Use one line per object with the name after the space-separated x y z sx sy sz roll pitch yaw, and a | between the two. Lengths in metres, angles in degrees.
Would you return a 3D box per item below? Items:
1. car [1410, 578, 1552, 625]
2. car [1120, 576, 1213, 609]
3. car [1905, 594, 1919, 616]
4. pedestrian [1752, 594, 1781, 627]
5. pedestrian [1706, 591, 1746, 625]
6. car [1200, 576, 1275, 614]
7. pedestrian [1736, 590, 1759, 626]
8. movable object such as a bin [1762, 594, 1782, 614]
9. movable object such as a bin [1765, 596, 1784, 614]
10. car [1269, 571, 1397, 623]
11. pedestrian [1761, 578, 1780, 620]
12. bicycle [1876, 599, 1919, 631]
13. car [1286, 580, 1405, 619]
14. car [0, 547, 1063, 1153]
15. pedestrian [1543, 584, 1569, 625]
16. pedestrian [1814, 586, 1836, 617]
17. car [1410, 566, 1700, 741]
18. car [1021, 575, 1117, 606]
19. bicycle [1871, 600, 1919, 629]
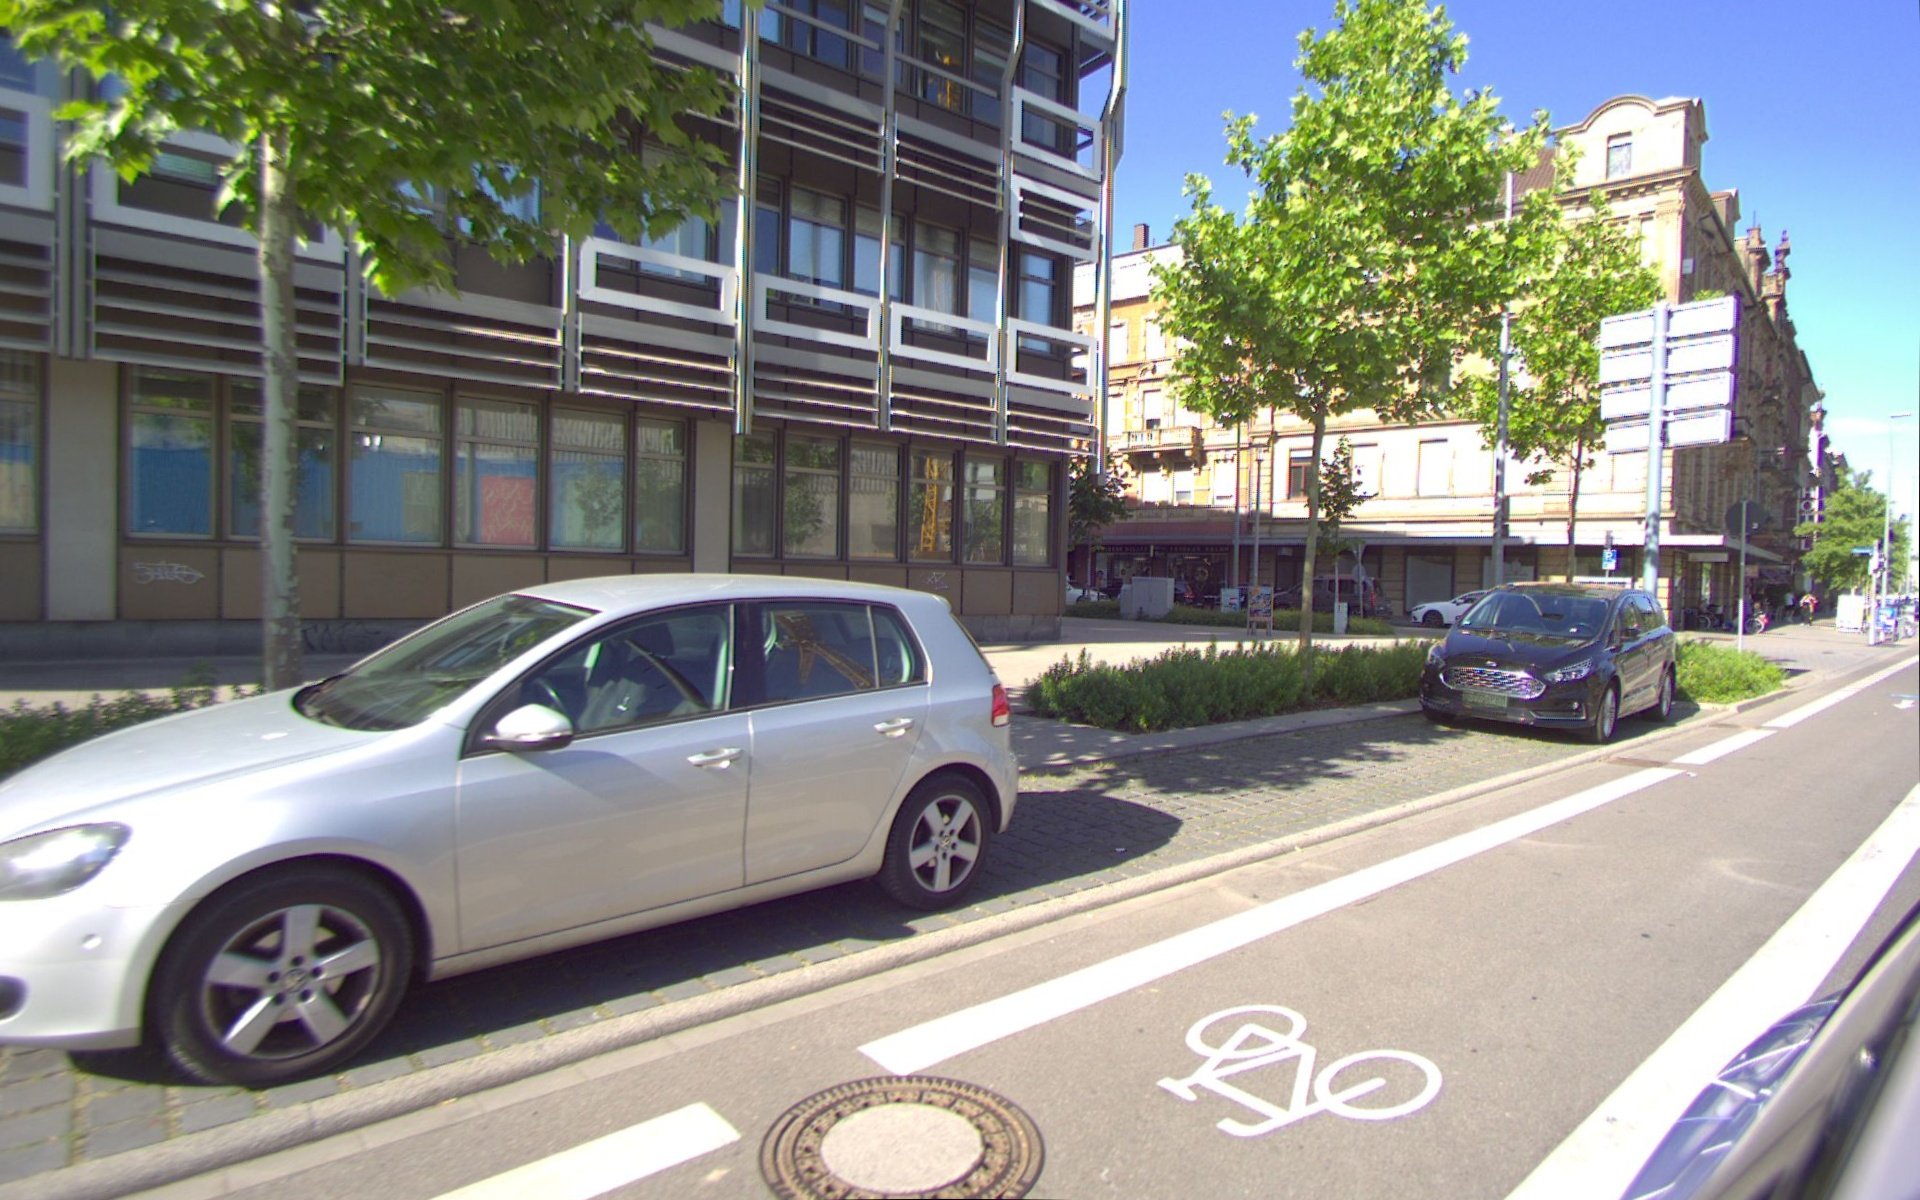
19.190 0.029 37.363 4.385 1.563 1.828 2 2 38 | car
9.250 -0.374 45.437 3.803 1.371 1.628 2 2 38 | car
75.026 0.389 79.028 3.688 1.603 1.666 -1 0 -45 | car
31.194 0.405 39.138 0.635 1.232 0.718 0 3 -39 | pedestrian
29.632 0.307 39.153 0.691 1.232 1.073 -1 4 -45 | pedestrian
11.853 -0.224 43.277 2.776 1.513 1.288 2 2 38 | car
31.463 0.315 40.422 0.573 1.411 0.638 5 4 44 | pedestrian
43.677 0.200 54.436 0.577 1.025 0.692 -1 4 -40 | movable object such as a bin
44.164 0.265 54.863 0.577 0.986 0.692 -1 1 -40 | movable object such as a bin
13.855 -0.164 37.694 4.145 1.774 1.793 2 2 38 | car
35.484 -0.036 44.320 0.492 1.824 0.512 1 1 -37 | pedestrian
42.328 0.676 45.320 1.866 1.266 0.681 6 5 45 | bicycle
15.361 -0.030 40.466 4.169 1.412 1.536 2 1 38 | car
-1.568 0.592 4.303 4.083 1.483 1.621 0 3 -41 | car
21.651 0.166 36.759 0.680 1.468 0.535 2 1 40 | pedestrian
45.626 0.078 53.368 0.795 1.603 0.752 0 3 -45 | pedestrian
7.136 0.492 11.939 4.394 1.679 1.750 0 2 -43 | car
5.250 -0.484 49.038 4.416 1.371 1.628 2 2 38 | car
40.370 0.626 43.252 0.593 1.133 2.051 -1 4 -44 | bicycle
